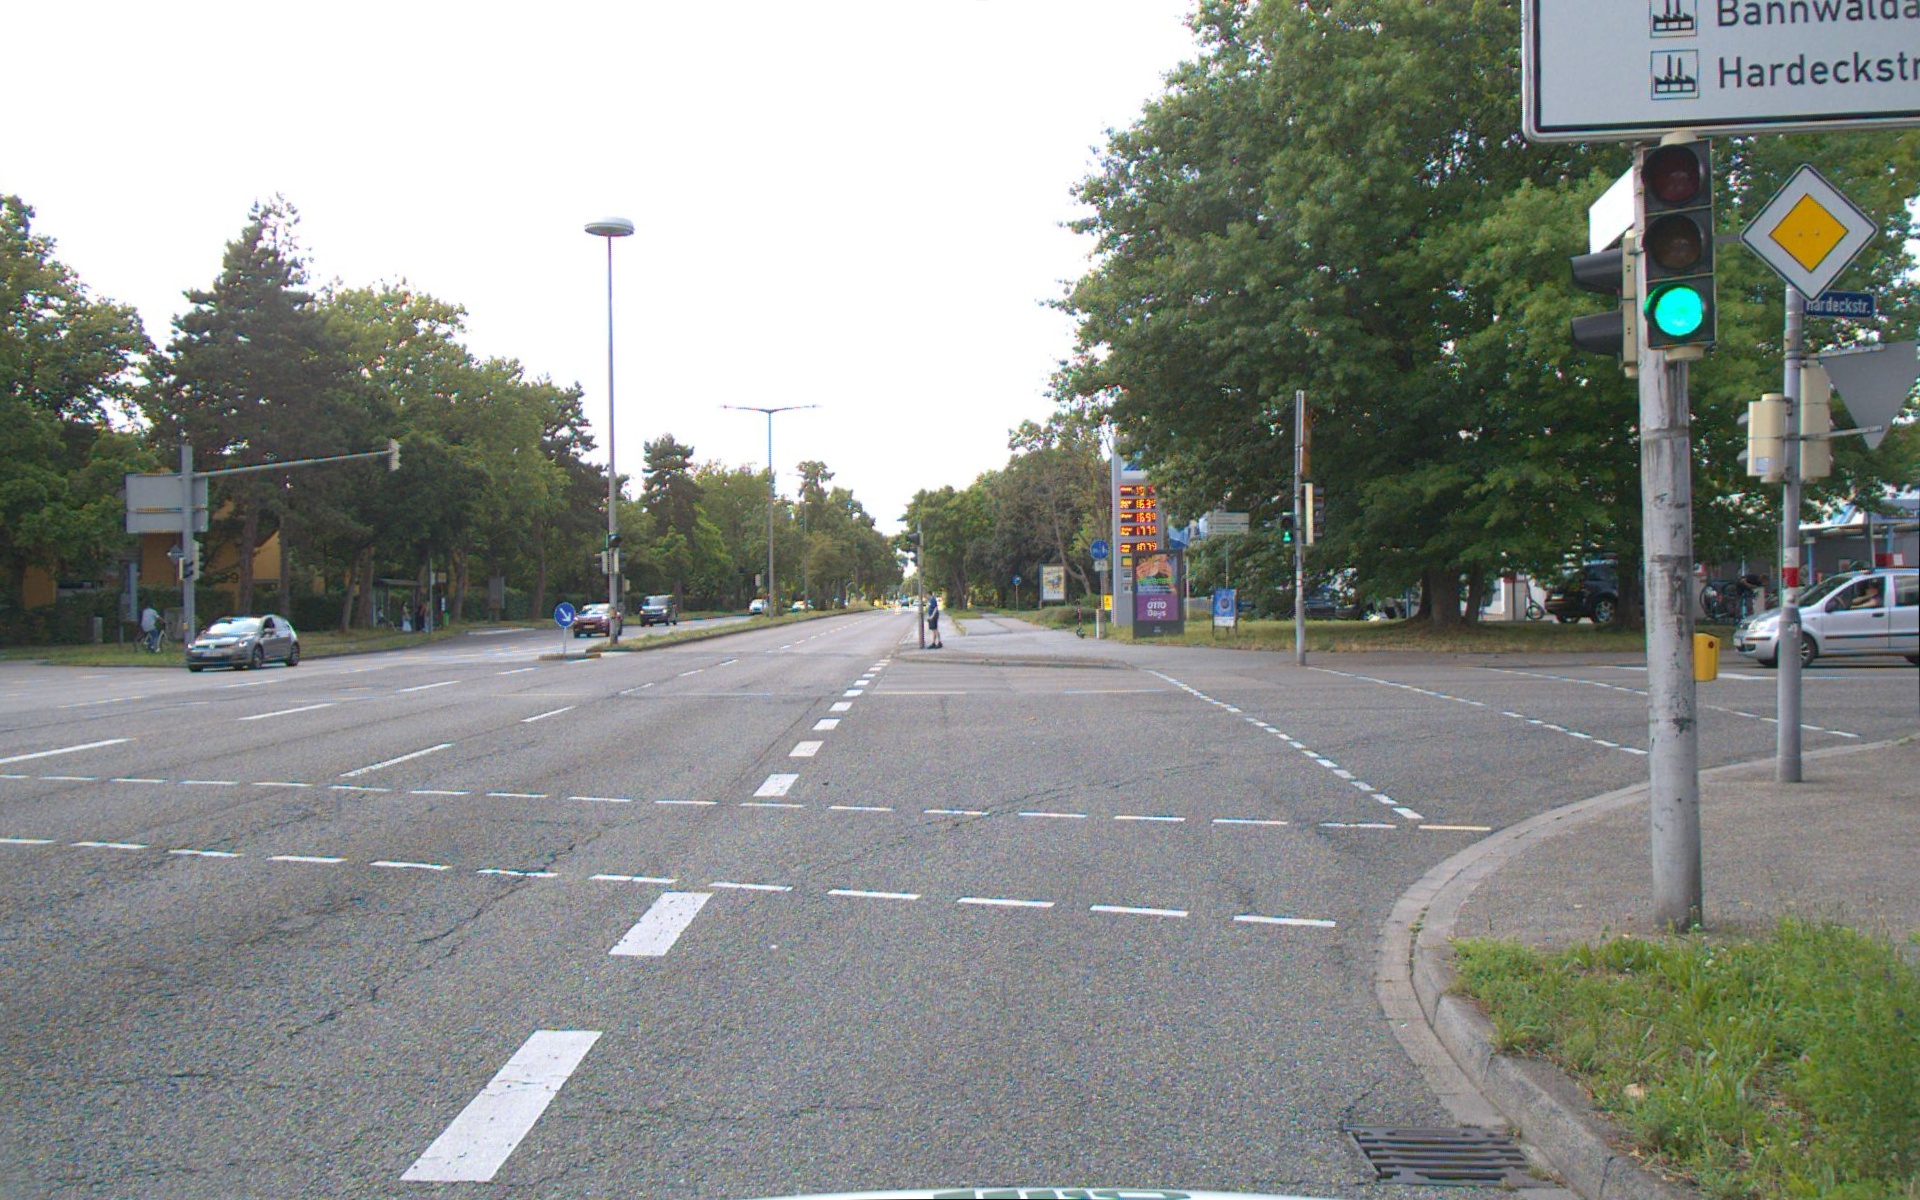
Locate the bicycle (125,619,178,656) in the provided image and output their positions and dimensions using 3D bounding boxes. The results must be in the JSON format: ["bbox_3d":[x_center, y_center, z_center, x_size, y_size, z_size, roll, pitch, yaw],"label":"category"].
[{"bbox_3d":[-26.071,1.189,53.365,0.740,1.138,2.113,-1,0,-3],"label":"bicycle"}]

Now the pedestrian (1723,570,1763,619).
[{"bbox_3d":[19.740,-0.141,41.704,0.640,1.211,0.753,2,-1,-45],"label":"pedestrian"}]

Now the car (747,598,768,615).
[{"bbox_3d":[-21.761,0.701,177.903,1.822,1.735,4.454,-1,0,-2],"label":"car"}]

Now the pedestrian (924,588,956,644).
[{"bbox_3d":[-0.572,0.445,47.111,0.713,1.558,0.756,-1,0,-17],"label":"pedestrian"}]

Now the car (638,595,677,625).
[{"bbox_3d":[-20.028,0.623,109.737,1.729,1.889,4.816,-1,0,-1],"label":"car"}]

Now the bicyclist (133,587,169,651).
[{"bbox_3d":[-26.085,0.604,53.366,0.736,2.049,0.831,-1,0,-3],"label":"bicyclist"}]

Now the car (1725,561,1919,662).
[{"bbox_3d":[14.278,0.174,26.342,3.520,1.543,1.560,-1,0,12],"label":"car"}]

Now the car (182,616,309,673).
[{"bbox_3d":[-19.155,1.167,44.509,1.561,1.396,4.082,-1,0,1],"label":"car"}]

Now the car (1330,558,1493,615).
[{"bbox_3d":[15.793,-0.478,57.939,5.089,1.859,2.148,-1,0,-12],"label":"car"}]

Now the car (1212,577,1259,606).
[{"bbox_3d":[14.544,-0.448,87.545,1.715,1.479,3.739,-1,0,-3],"label":"car"}]

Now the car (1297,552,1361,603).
[{"bbox_3d":[18.831,-1.101,84.563,1.715,2.496,5.747,-1,0,-2],"label":"car"}]

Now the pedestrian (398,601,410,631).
[{"bbox_3d":[-28.150,0.823,83.752,0.560,1.522,0.419,1,-1,-16],"label":"pedestrian"}]

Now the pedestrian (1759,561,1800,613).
[{"bbox_3d":[20.351,-0.313,41.070,0.640,1.277,0.753,2,-1,-45],"label":"pedestrian"}]

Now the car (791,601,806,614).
[{"bbox_3d":[-22.569,1.075,231.699,1.823,1.735,4.453,-1,0,-3],"label":"car"}]

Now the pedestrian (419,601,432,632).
[{"bbox_3d":[-26.850,0.837,83.063,0.560,1.522,0.419,1,-1,-16],"label":"pedestrian"}]

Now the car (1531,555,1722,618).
[{"bbox_3d":[18.391,-0.367,45.734,4.469,1.624,2.148,-1,0,-12],"label":"car"}]

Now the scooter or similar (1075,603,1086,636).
[{"bbox_3d":[3.756,0.599,51.412,0.216,0.996,1.272,-1,0,-1],"label":"scooter or similar"}]

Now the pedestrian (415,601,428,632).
[{"bbox_3d":[-27.342,0.839,83.990,0.560,1.522,0.419,1,-1,-16],"label":"pedestrian"}]

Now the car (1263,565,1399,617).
[{"bbox_3d":[15.416,-0.374,68.856,5.079,2.039,2.152,-1,0,-5],"label":"car"}]

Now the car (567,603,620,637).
[{"bbox_3d":[-17.073,0.902,77.206,1.736,1.490,4.452,-1,0,-4],"label":"car"}]

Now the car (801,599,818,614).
[{"bbox_3d":[-18.406,0.792,202.267,1.823,1.735,4.453,-1,0,-3],"label":"car"}]

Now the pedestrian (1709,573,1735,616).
[{"bbox_3d":[27.858,-0.197,60.466,0.640,1.571,0.624,-1,0,6],"label":"pedestrian"}]

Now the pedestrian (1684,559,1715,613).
[{"bbox_3d":[20.882,-0.385,46.717,0.550,1.521,0.619,1,-1,-8],"label":"pedestrian"}]
